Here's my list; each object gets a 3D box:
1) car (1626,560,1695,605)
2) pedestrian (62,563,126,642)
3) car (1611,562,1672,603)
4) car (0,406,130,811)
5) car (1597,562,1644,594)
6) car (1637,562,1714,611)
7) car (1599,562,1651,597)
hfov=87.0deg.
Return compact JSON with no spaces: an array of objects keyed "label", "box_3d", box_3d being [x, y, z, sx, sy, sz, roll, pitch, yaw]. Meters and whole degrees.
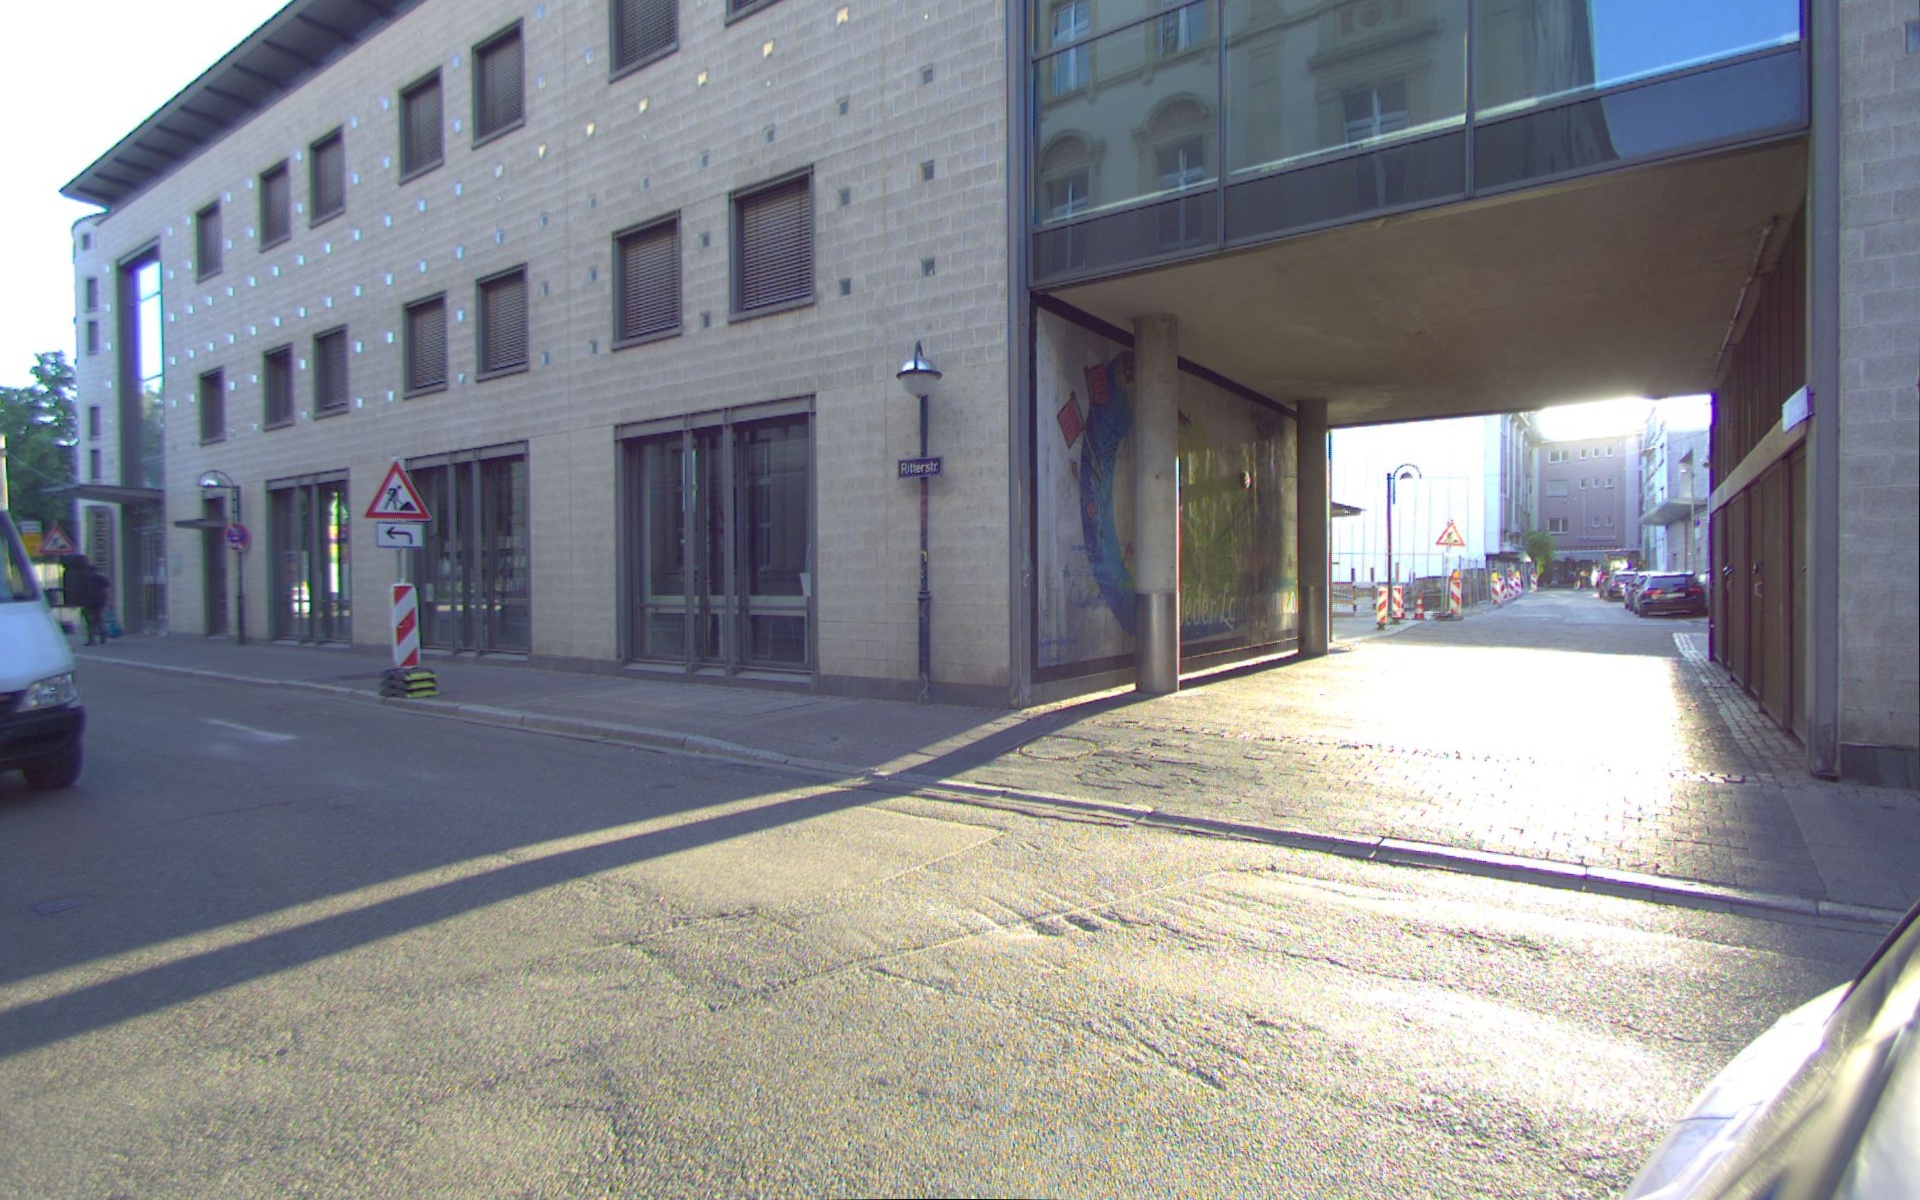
[{"label":"car","box_3d":[24.904,-0.616,36.063,1.587,1.512,3.412,0,1,27]},{"label":"pedestrian","box_3d":[-19.418,0.046,22.702,0.863,1.723,0.914,0,1,36]},{"label":"car","box_3d":[26.649,-0.691,39.682,1.587,1.512,3.412,0,1,27]},{"label":"car","box_3d":[-8.915,0.040,7.814,6.423,2.542,1.980,1,4,34]},{"label":"car","box_3d":[31.977,-1.061,49.066,1.587,1.512,3.412,0,1,27]},{"label":"car","box_3d":[23.097,-0.448,32.772,1.587,1.512,3.412,0,1,27]},{"label":"car","box_3d":[29.456,-0.900,44.909,1.587,1.512,3.412,0,1,27]}]
